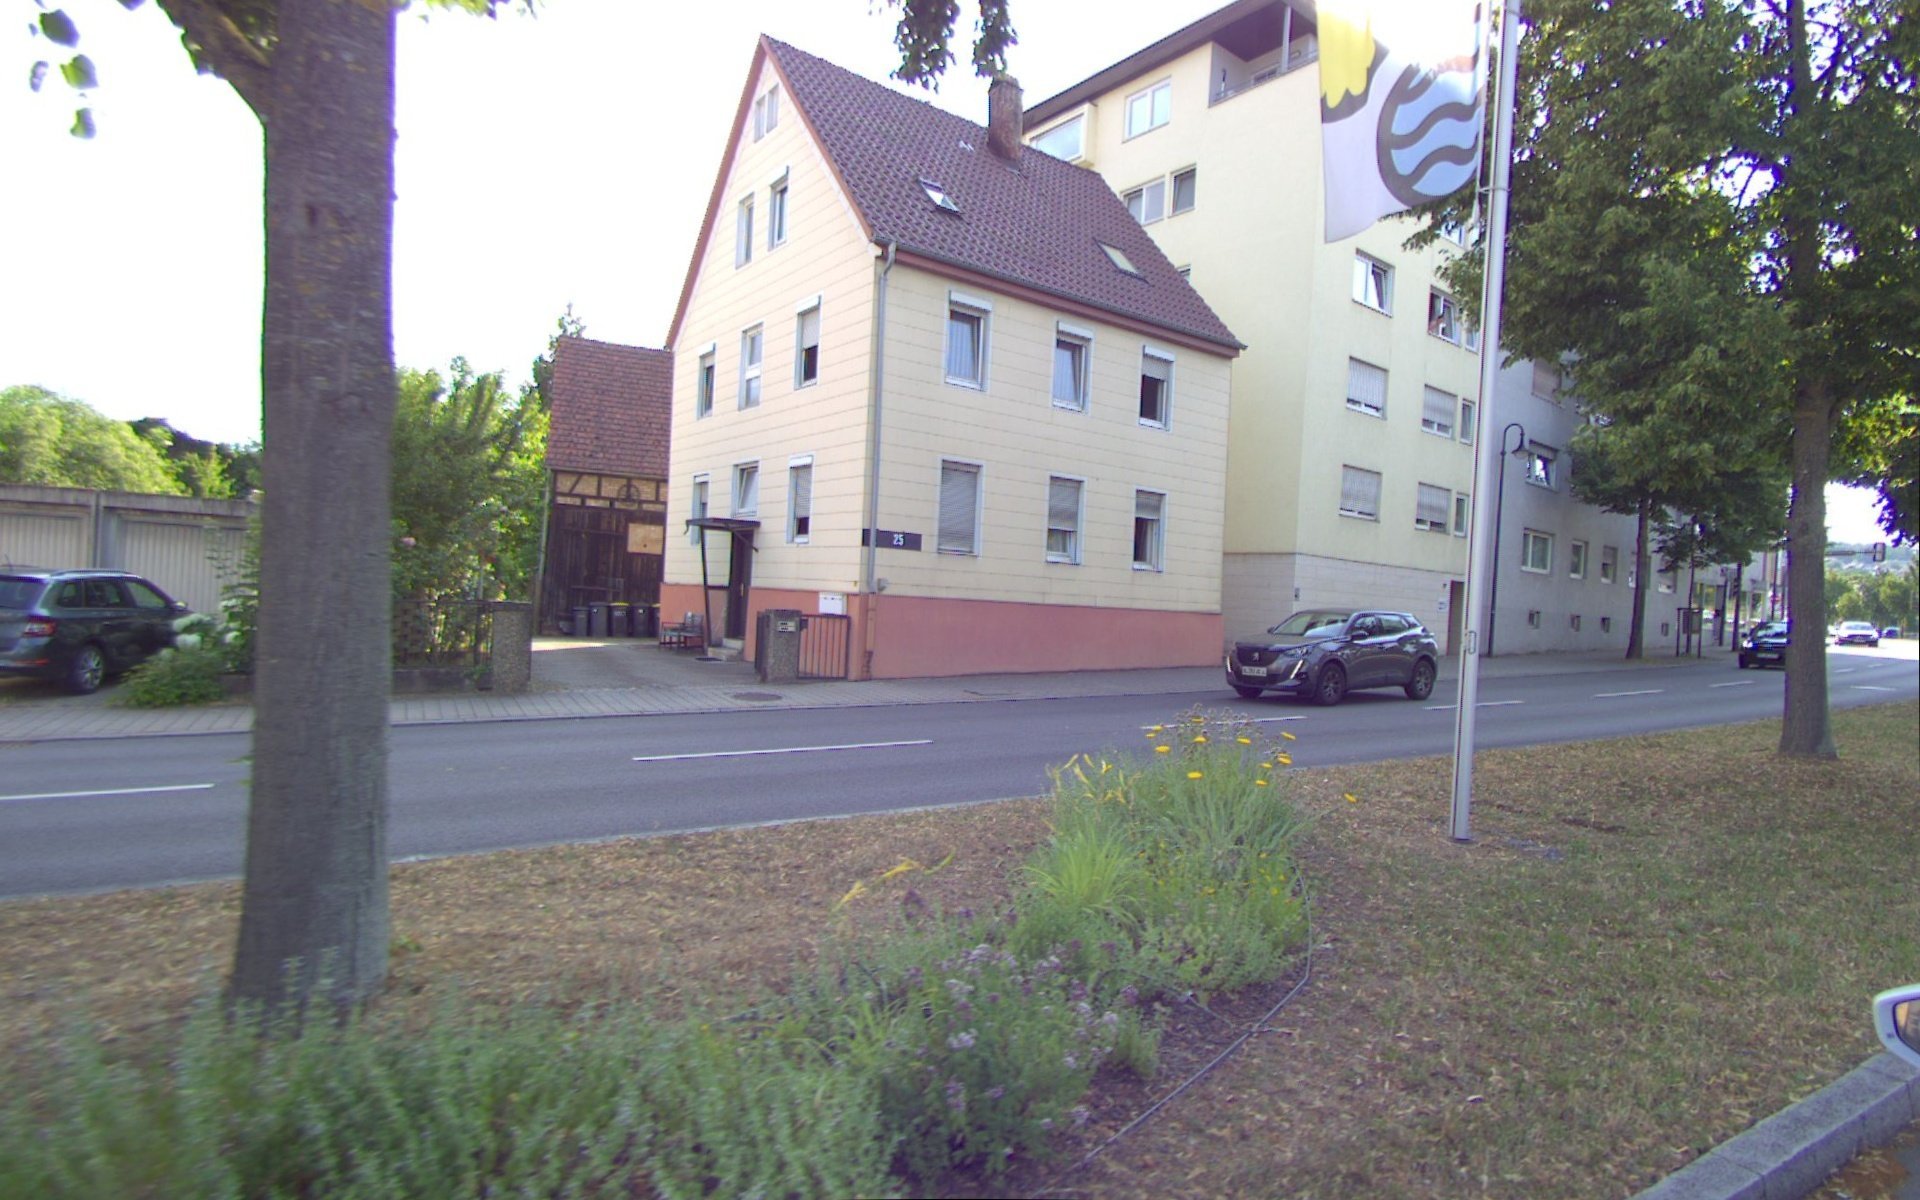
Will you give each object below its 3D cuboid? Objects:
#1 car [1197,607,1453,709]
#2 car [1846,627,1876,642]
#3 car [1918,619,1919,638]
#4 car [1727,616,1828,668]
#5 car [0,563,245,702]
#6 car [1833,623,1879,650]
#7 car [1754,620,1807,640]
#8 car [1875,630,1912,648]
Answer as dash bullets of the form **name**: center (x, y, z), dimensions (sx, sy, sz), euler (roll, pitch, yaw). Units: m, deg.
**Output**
- **car**: center (6.237, 0.923, 17.039), dimensions (4.279, 1.506, 1.928), euler (2, 0, -34)
- **car**: center (113.710, 4.356, 126.809), dimensions (2.186, 1.792, 4.442), euler (2, 0, 34)
- **car**: center (92.037, 2.722, 94.360), dimensions (2.186, 1.792, 4.442), euler (2, 0, 34)
- **car**: center (25.929, 1.310, 31.839), dimensions (3.748, 1.506, 1.594), euler (2, 0, -36)
- **car**: center (-11.365, 0.307, 13.031), dimensions (1.913, 1.506, 4.348), euler (2, 1, -14)
- **car**: center (55.340, 2.225, 62.082), dimensions (1.830, 1.506, 4.974), euler (1, -1, 39)
- **car**: center (78.607, 2.885, 96.352), dimensions (1.821, 1.759, 4.926), euler (1, 0, 12)
- **car**: center (103.060, 4.286, 110.916), dimensions (2.186, 1.883, 4.442), euler (2, 0, 34)
